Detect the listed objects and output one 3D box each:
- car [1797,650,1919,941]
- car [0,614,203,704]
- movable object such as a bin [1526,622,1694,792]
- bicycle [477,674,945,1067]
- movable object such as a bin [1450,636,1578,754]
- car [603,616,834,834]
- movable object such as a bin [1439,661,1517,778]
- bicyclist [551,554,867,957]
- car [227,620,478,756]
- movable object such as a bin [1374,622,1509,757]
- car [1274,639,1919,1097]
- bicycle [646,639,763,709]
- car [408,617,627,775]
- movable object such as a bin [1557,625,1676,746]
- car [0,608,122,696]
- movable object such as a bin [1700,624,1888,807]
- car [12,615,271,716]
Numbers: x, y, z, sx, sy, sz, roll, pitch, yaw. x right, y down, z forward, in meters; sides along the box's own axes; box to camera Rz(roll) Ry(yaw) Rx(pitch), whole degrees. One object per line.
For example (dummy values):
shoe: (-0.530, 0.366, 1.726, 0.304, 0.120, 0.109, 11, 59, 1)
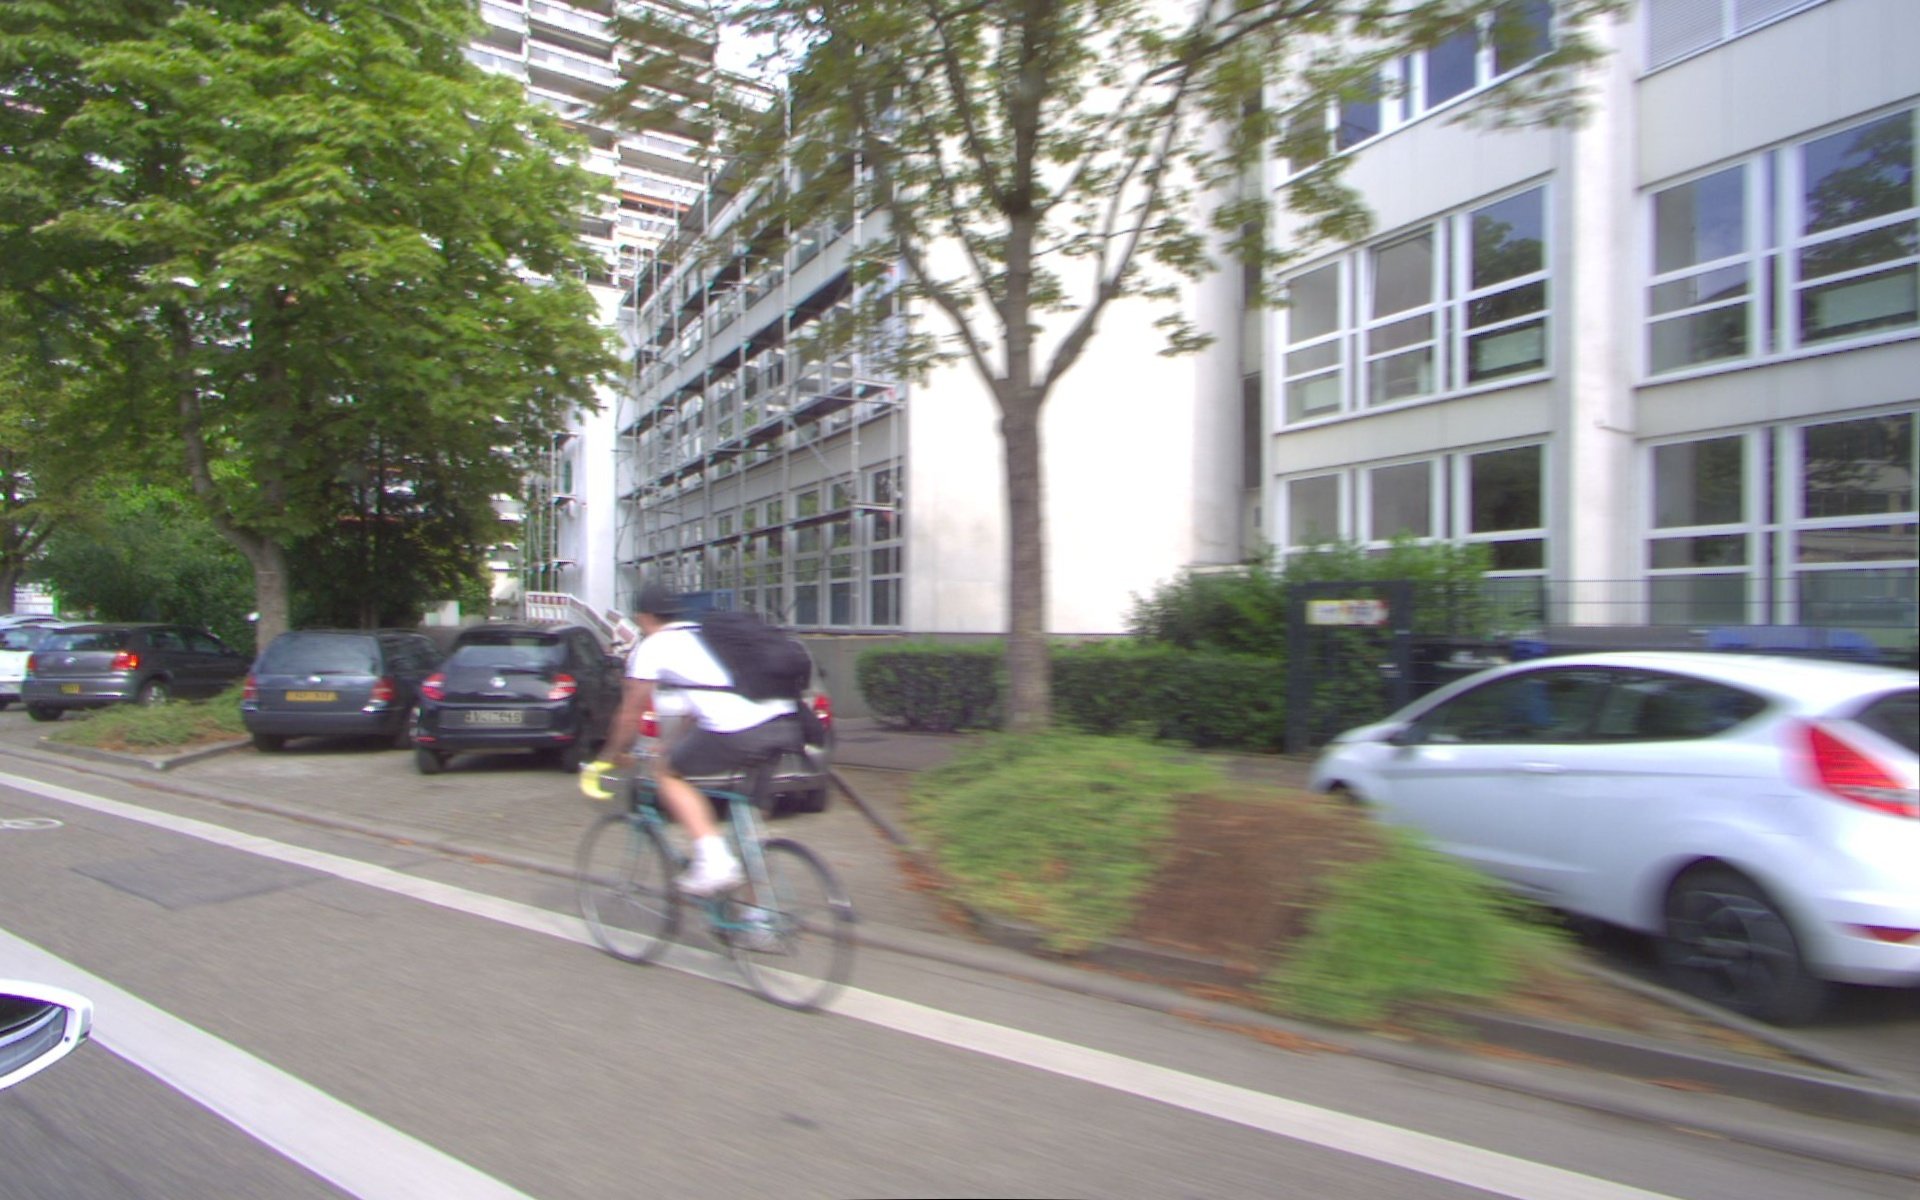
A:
car: (6.044, 0.981, 4.073, 1.647, 1.478, 3.825, 1, -2, -14)
car: (-15.673, 1.015, 18.149, 1.530, 1.461, 3.447, 1, -1, -6)
movable object such as a bin: (6.370, 0.997, 9.865, 1.315, 1.527, 1.067, 0, -2, 33)
bicycle: (-1.134, 1.001, 4.314, 2.093, 1.265, 0.656, 0, -2, 31)
movable object such as a bin: (6.982, 1.165, 12.633, 1.022, 1.385, 1.072, 2, -2, -34)
car: (-2.127, 0.953, 9.085, 1.610, 1.542, 3.737, 1, -2, -12)
movable object such as a bin: (5.263, 1.189, 10.168, 0.566, 1.117, 0.647, 0, -2, 41)
bicyclist: (-1.073, 0.583, 4.277, 1.161, 1.482, 0.656, 0, -1, 31)
car: (-7.554, 1.029, 12.865, 1.610, 1.477, 3.737, 1, -2, -12)
movable object such as a bin: (5.850, 1.052, 12.182, 1.105, 1.542, 1.072, 2, -2, -34)
car: (3.454, 0.972, 5.371, 1.611, 1.478, 3.825, 1, -2, -14)
bicycle: (-4.547, 1.292, 17.874, 1.943, 1.143, 0.536, -1, 0, -28)
car: (-4.988, 1.012, 11.785, 1.610, 1.542, 3.737, 1, -2, -12)
movable object such as a bin: (9.069, 1.153, 13.848, 1.022, 1.582, 1.072, 2, -2, -34)
car: (-18.428, 0.972, 19.504, 1.530, 1.593, 3.447, 1, -1, -6)
movable object such as a bin: (7.621, 1.001, 9.236, 1.196, 1.527, 1.067, 0, -2, 33)
car: (-13.169, 1.008, 16.405, 1.593, 1.461, 3.535, 1, -1, -6)
